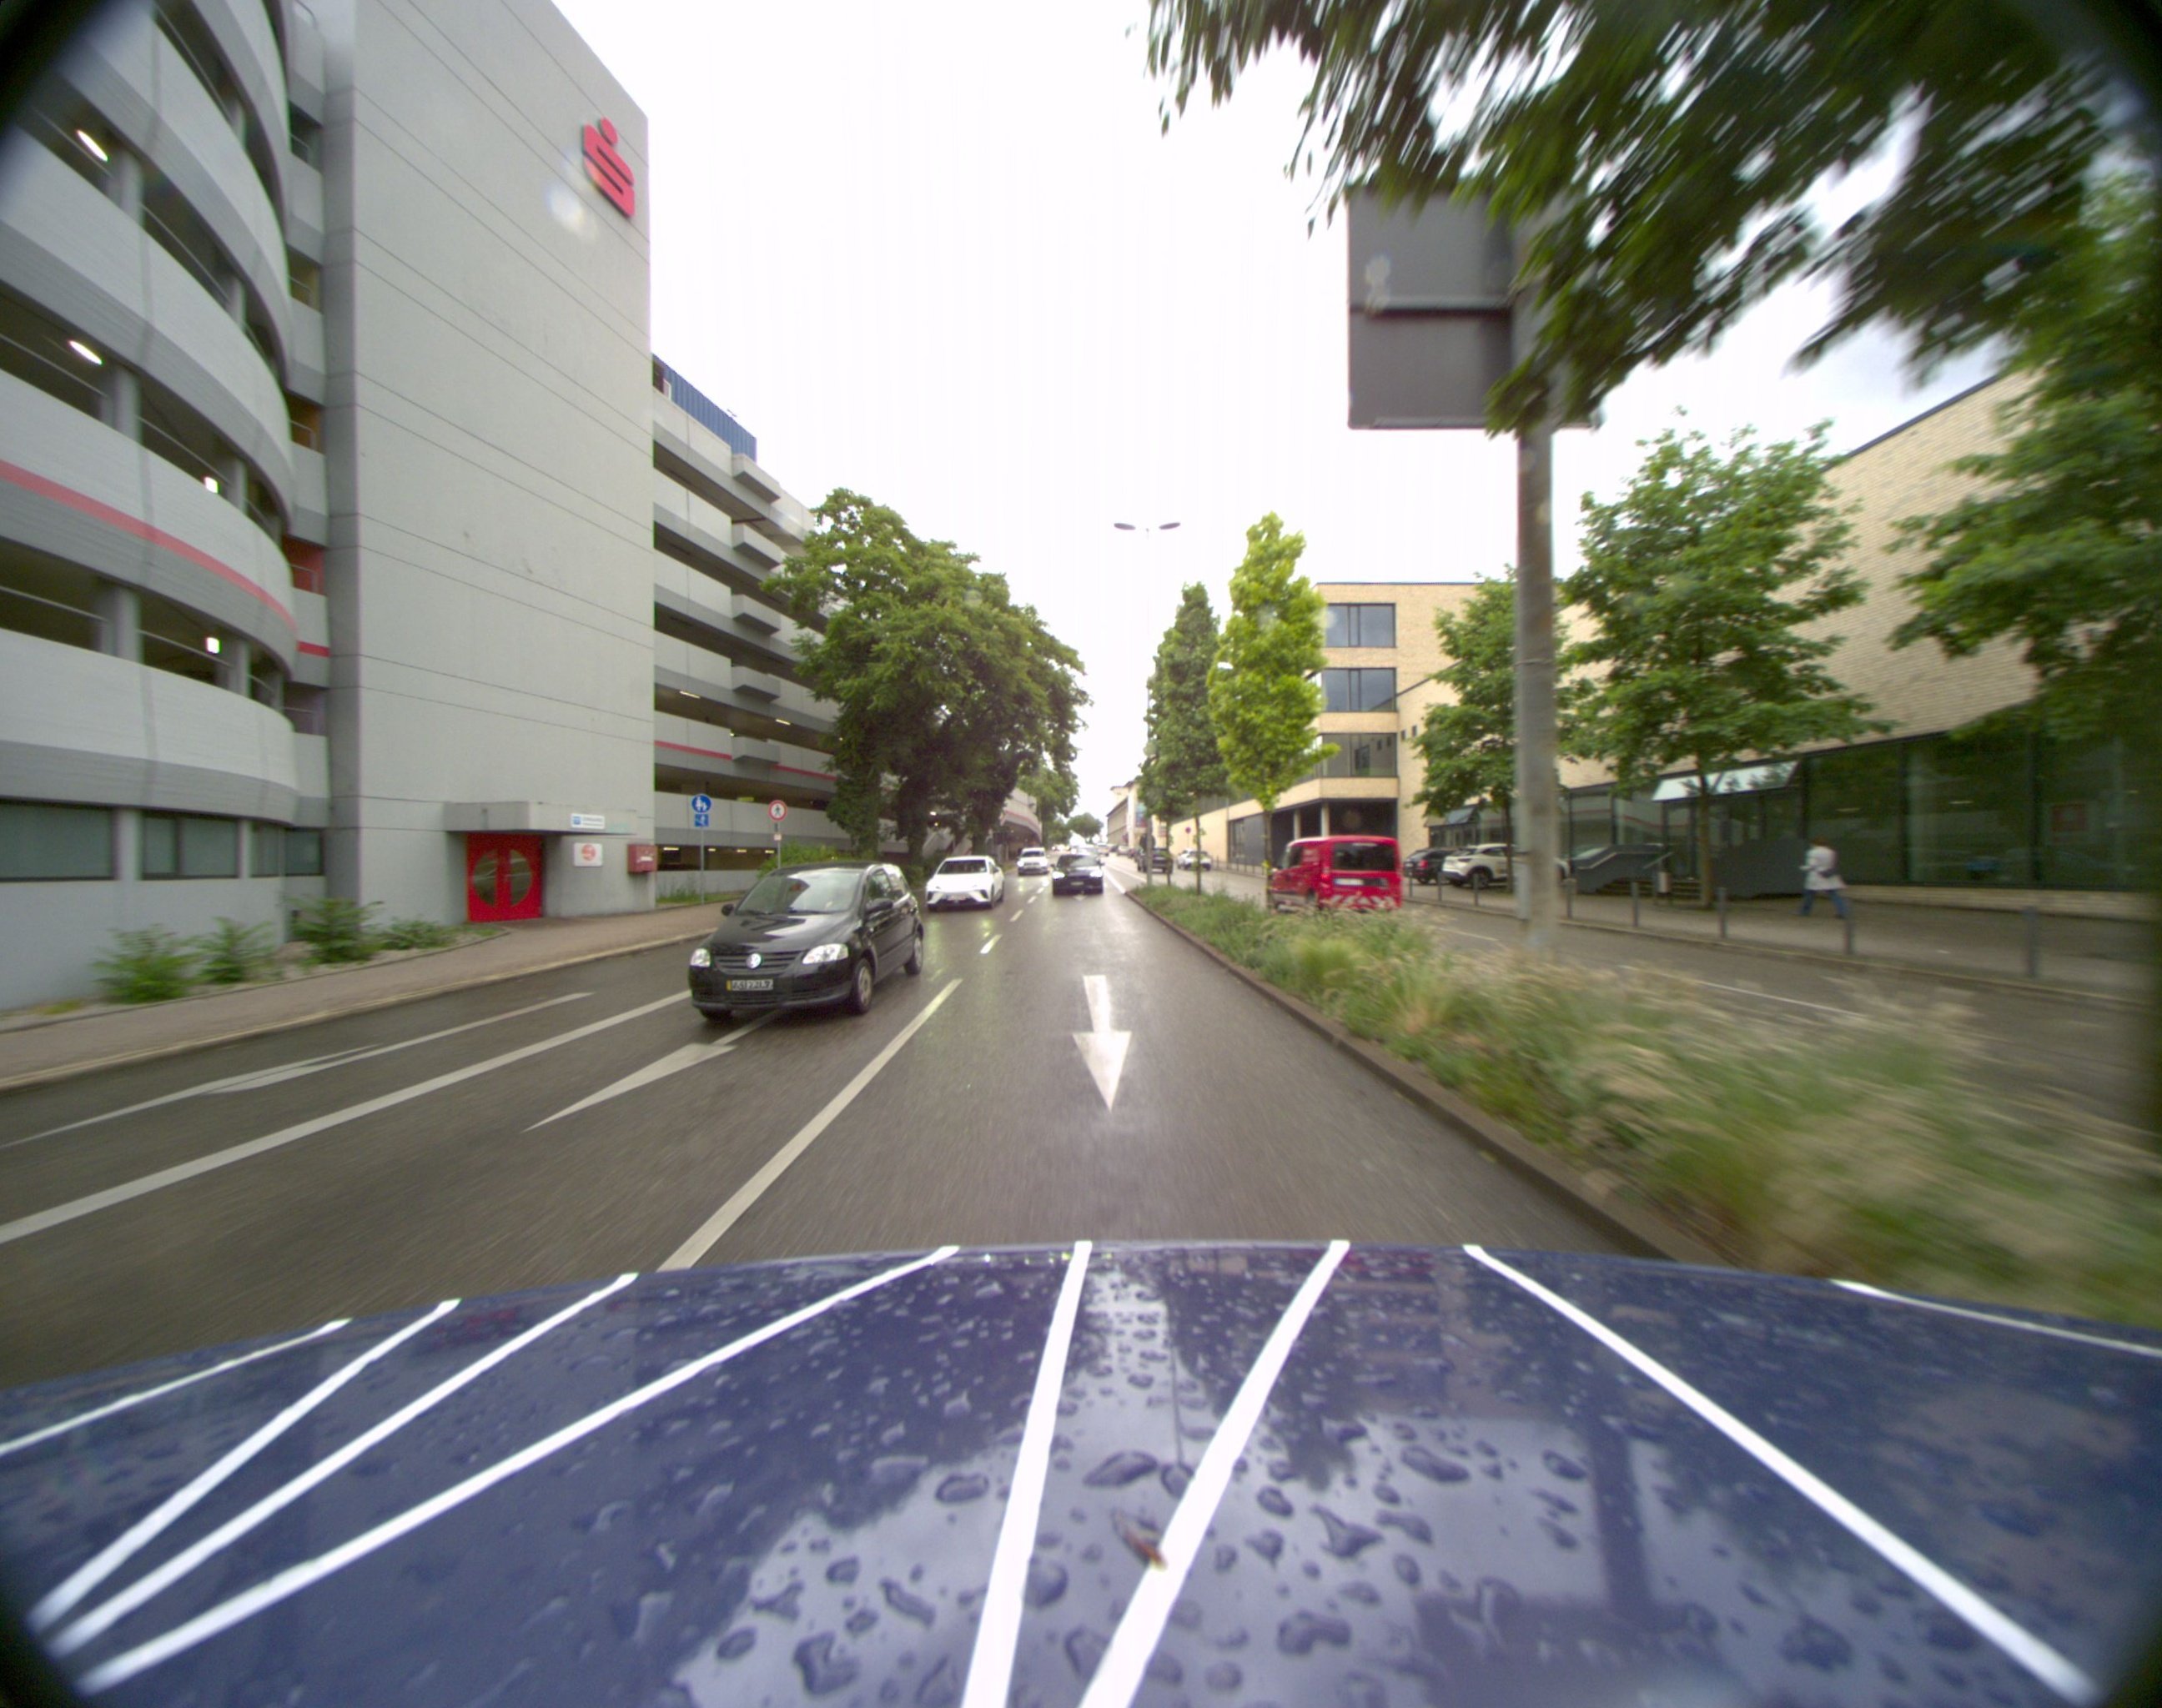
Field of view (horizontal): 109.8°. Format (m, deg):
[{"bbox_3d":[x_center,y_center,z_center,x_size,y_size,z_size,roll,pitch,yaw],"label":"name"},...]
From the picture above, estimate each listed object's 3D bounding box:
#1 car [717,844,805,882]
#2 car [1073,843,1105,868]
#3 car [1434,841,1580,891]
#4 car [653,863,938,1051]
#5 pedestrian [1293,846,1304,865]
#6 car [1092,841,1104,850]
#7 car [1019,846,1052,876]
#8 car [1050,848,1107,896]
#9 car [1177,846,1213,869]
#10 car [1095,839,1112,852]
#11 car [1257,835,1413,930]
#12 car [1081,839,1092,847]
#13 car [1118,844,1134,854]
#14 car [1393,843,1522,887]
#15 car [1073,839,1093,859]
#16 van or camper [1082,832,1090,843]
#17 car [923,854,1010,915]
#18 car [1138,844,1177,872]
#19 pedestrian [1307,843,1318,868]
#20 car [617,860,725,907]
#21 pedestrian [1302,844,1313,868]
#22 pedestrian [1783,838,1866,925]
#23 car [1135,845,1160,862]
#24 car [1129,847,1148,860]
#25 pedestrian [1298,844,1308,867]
[{"bbox_3d":[-15.529,0.437,36.904,3.461,1.773,1.817,-1,1,13],"label":"car"},{"bbox_3d":[0.579,0.082,50.470,1.998,1.478,3.999,-2,2,1],"label":"car"},{"bbox_3d":[15.512,0.412,27.829,4.186,1.539,1.999,-2,2,2],"label":"car"},{"bbox_3d":[-2.896,0.939,8.714,1.683,1.516,3.989,-2,0,0],"label":"car"},{"bbox_3d":[14.116,0.082,49.323,0.550,1.208,0.421,-2,2,3],"label":"pedestrian"},{"bbox_3d":[2.855,-1.396,128.984,1.816,1.454,4.286,1,2,-2],"label":"car"},{"bbox_3d":[-2.783,0.422,47.539,1.727,1.629,3.998,-2,2,0],"label":"car"},{"bbox_3d":[-0.074,0.594,27.660,1.852,1.516,3.989,-2,0,0],"label":"car"},{"bbox_3d":[7.969,0.221,53.417,1.737,1.461,4.230,2,1,-2],"label":"car"},{"bbox_3d":[3.078,-1.198,104.405,1.896,1.801,4.572,1,1,-2],"label":"car"},{"bbox_3d":[5.616,0.528,17.542,1.797,1.843,4.790,1,1,-2],"label":"car"},{"bbox_3d":[1.056,-2.150,152.261,1.888,1.489,4.560,1,1,-2],"label":"car"},{"bbox_3d":[6.392,-0.710,107.427,1.834,1.380,4.228,1,1,-2],"label":"car"},{"bbox_3d":[15.019,0.421,30.405,4.188,1.486,1.998,-3,2,-6],"label":"car"},{"bbox_3d":[0.212,-0.597,84.048,1.999,2.002,3.998,-2,2,0],"label":"car"},{"bbox_3d":[1.256,-4.154,188.329,2.107,2.568,5.907,1,1,1],"label":"van or camper"},{"bbox_3d":[-3.246,0.818,22.290,1.915,1.443,4.035,-2,2,-1],"label":"car"},{"bbox_3d":[4.644,0.191,46.826,1.737,1.616,4.230,2,1,-2],"label":"car"},{"bbox_3d":[14.297,0.092,46.899,0.442,1.467,0.528,-3,2,-5],"label":"pedestrian"},{"bbox_3d":[-16.639,1.180,30.926,3.461,1.773,1.817,-1,1,13],"label":"car"},{"bbox_3d":[14.158,0.093,47.546,0.450,1.467,0.463,-3,2,-5],"label":"pedestrian"},{"bbox_3d":[14.937,0.527,15.300,0.644,1.656,1.018,-3,2,-6],"label":"pedestrian"},{"bbox_3d":[6.072,-0.047,69.498,1.737,1.386,4.197,1,1,-2],"label":"car"},{"bbox_3d":[6.785,-0.106,89.986,1.750,1.404,3.969,1,1,-2],"label":"car"},{"bbox_3d":[14.147,0.097,48.458,0.450,1.467,0.463,-3,2,-5],"label":"pedestrian"}]
